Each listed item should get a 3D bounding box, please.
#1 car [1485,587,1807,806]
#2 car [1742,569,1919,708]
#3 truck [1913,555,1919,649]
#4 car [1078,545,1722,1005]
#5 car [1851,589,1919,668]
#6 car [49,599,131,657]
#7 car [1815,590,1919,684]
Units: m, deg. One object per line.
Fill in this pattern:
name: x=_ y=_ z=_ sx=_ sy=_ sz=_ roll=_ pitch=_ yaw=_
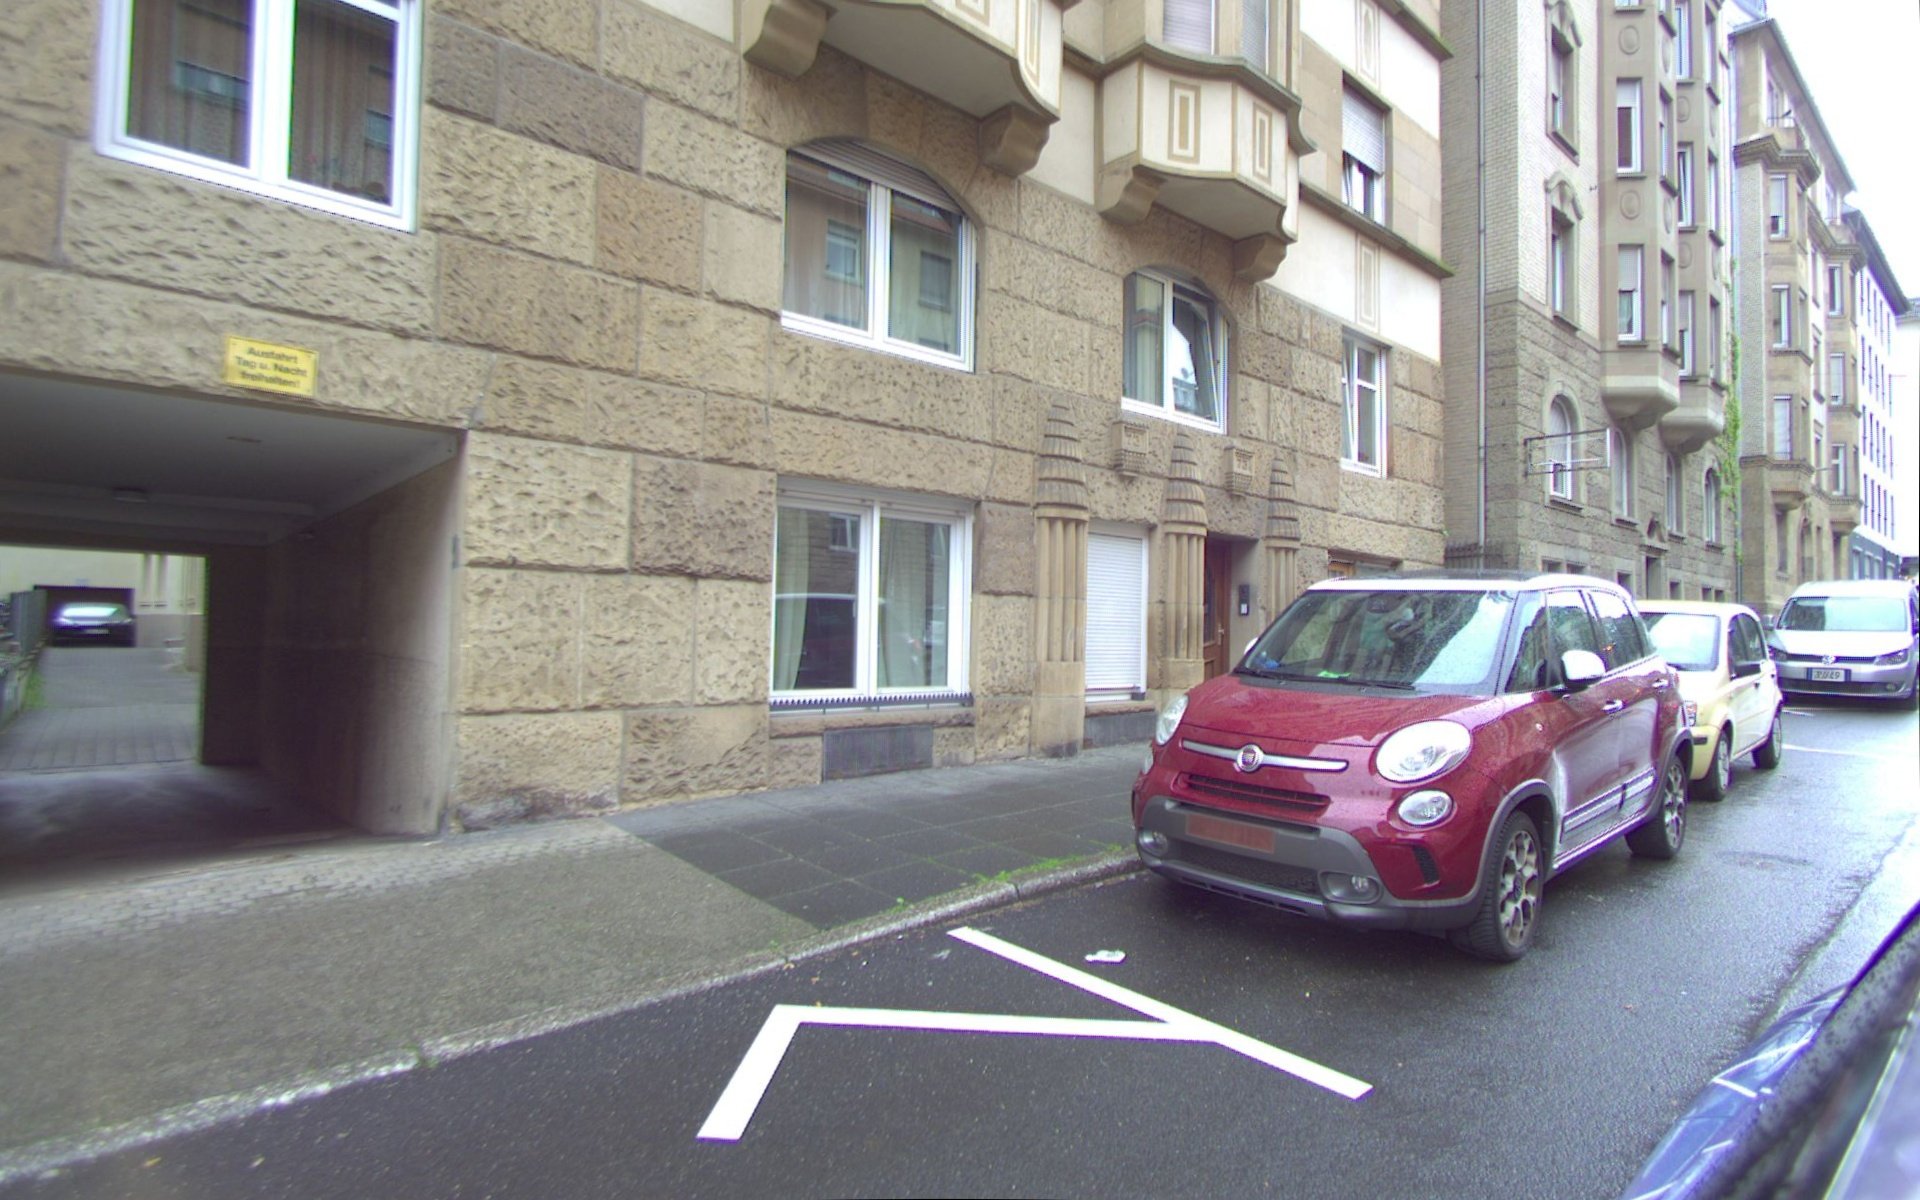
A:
car: x=6.148 y=0.686 z=8.935 sx=3.517 sy=1.549 sz=1.578 roll=0 pitch=-1 yaw=-43
car: x=13.712 y=0.514 z=15.452 sx=4.380 sy=1.825 sz=1.966 roll=0 pitch=-1 yaw=-41
truck: x=29.113 y=0.043 z=28.821 sx=6.036 sy=2.568 sz=2.233 roll=0 pitch=-1 yaw=-41
car: x=2.627 y=0.621 z=5.574 sx=3.932 sy=1.619 sz=1.804 roll=0 pitch=-1 yaw=-42
car: x=20.427 y=0.564 z=21.382 sx=3.860 sy=1.549 sz=1.889 roll=0 pitch=-1 yaw=-41
car: x=-25.235 y=0.775 z=29.401 sx=1.692 sy=1.541 sz=4.098 roll=0 pitch=-1 yaw=-41
car: x=17.121 y=0.615 z=18.443 sx=3.934 sy=1.549 sz=1.994 roll=0 pitch=-1 yaw=-45
